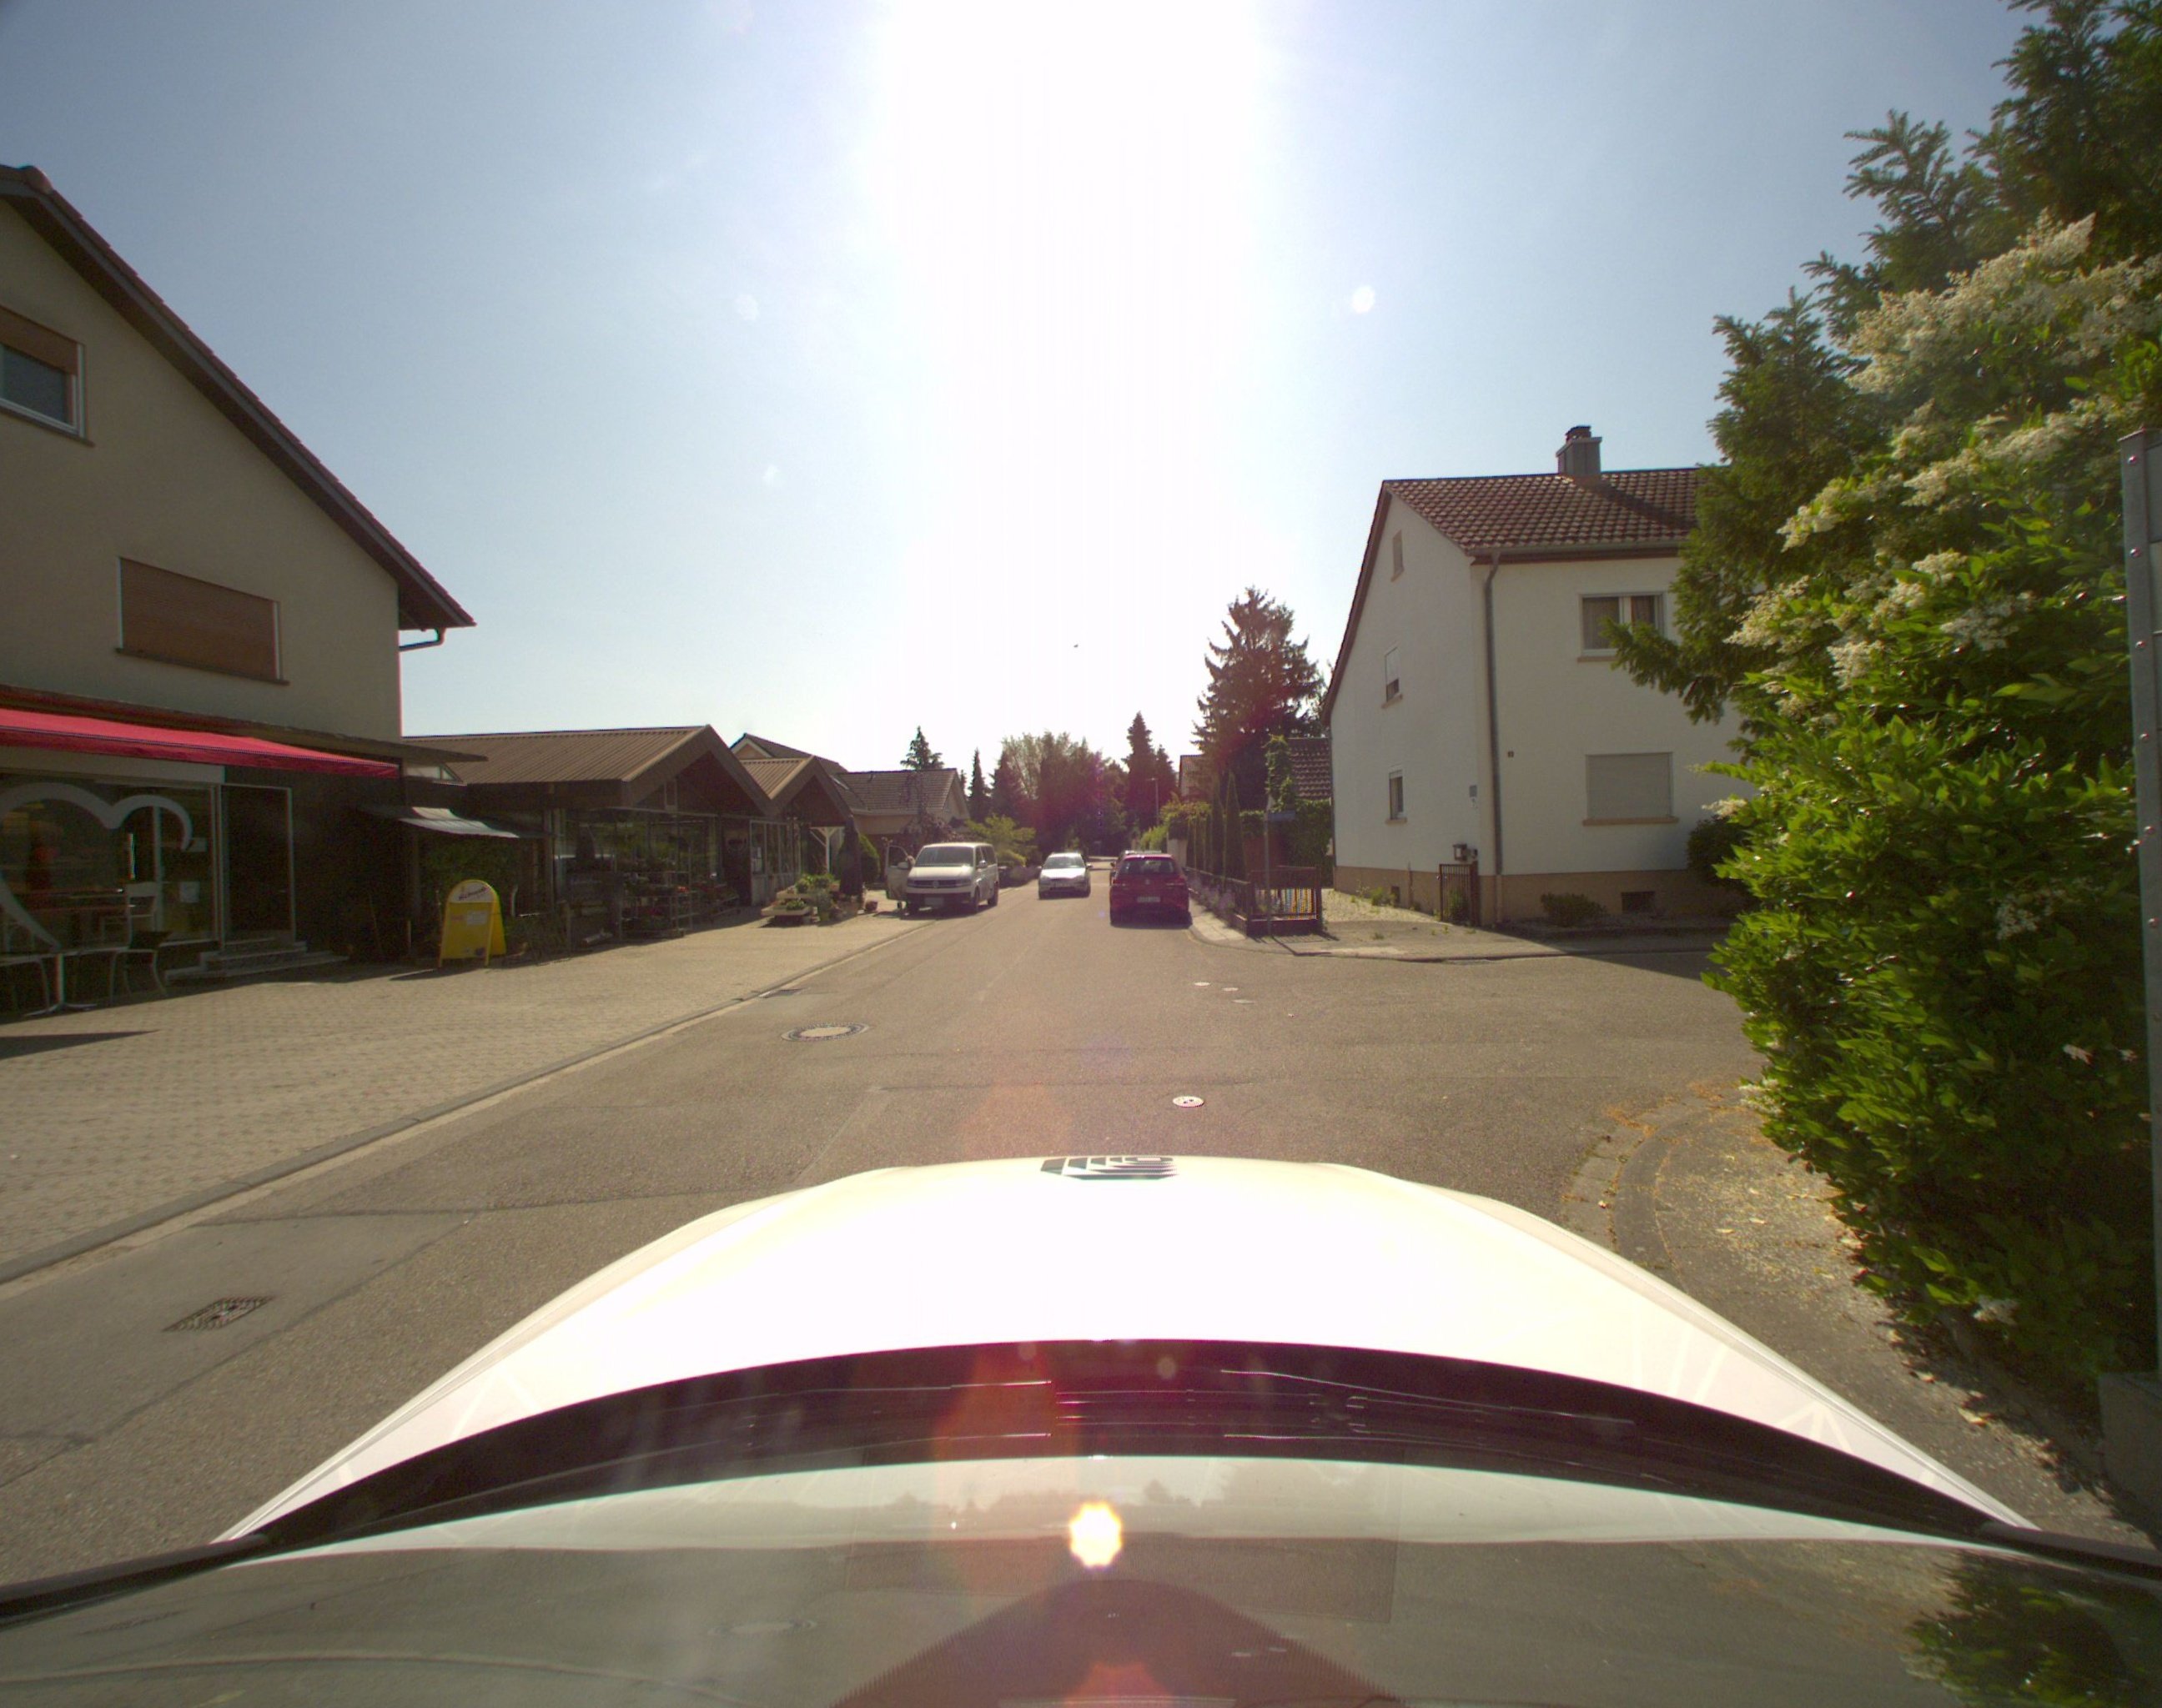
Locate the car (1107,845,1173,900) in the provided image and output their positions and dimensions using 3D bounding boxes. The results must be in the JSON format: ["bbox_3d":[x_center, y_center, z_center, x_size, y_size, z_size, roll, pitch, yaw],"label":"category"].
[{"bbox_3d":[1.807,0.542,26.033,1.816,1.615,3.999,-1,0,0],"label":"car"}]

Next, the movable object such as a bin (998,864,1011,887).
[{"bbox_3d":[-3.526,0.987,37.376,0.492,1.024,0.448,-2,0,2],"label":"movable object such as a bin"}]

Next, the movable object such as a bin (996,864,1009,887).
[{"bbox_3d":[-3.553,0.979,36.914,0.492,1.024,0.448,-2,0,2],"label":"movable object such as a bin"}]

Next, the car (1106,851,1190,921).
[{"bbox_3d":[1.628,0.672,19.258,1.766,1.479,4.007,0,0,6],"label":"car"}]

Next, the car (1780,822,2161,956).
[{"bbox_3d":[11.980,0.410,10.718,3.971,1.530,1.798,-2,0,1],"label":"car"}]

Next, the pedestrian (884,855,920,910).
[{"bbox_3d":[-5.154,0.810,23.468,0.710,1.538,0.646,-1,1,36],"label":"pedestrian"}]

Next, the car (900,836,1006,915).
[{"bbox_3d":[-3.575,0.567,23.757,1.920,2.013,4.901,-2,0,4],"label":"car"}]

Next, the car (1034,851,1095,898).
[{"bbox_3d":[-0.511,0.660,29.010,1.745,1.487,4.379,-2,0,3],"label":"car"}]
